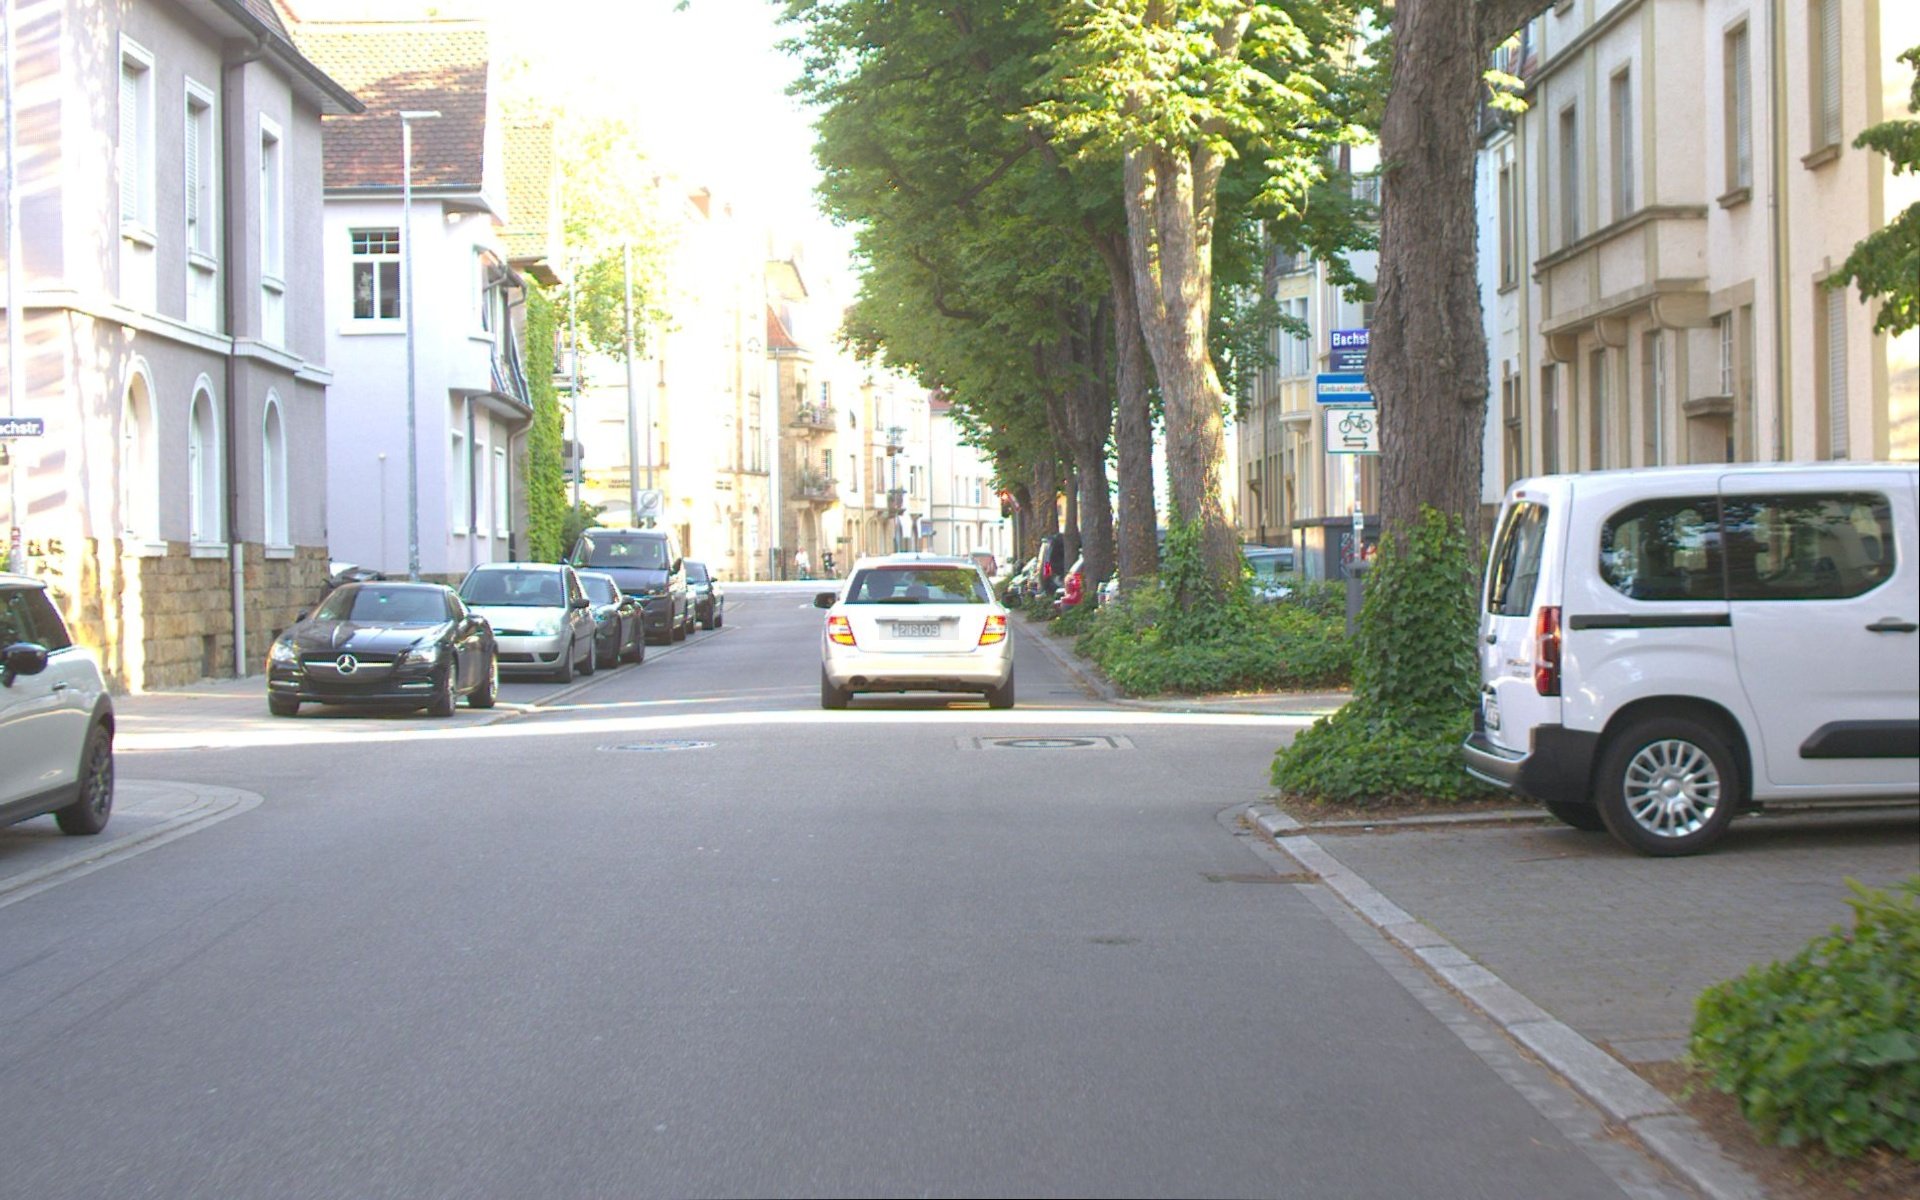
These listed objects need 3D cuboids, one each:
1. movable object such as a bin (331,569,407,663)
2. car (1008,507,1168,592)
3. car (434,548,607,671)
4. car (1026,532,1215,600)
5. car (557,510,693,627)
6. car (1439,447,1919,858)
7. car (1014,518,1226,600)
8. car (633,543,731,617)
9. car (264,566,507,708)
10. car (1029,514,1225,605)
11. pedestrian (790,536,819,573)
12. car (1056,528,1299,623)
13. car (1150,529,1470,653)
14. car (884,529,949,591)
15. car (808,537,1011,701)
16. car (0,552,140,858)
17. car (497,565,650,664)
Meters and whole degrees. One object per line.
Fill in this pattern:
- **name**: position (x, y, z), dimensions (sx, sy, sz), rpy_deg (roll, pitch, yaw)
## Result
- **movable object such as a bin**: position (-8.368, 0.213, 48.734), dimensions (0.721, 1.279, 2.096), rpy_deg (0, 1, 0)
- **car**: position (3.620, -1.443, 97.915), dimensions (4.388, 2.356, 2.000), rpy_deg (0, 1, -2)
- **car**: position (-5.504, 0.084, 43.445), dimensions (1.653, 1.440, 3.960), rpy_deg (1, 1, 0)
- **car**: position (3.749, -0.808, 80.834), dimensions (4.287, 1.535, 1.877), rpy_deg (0, 1, -2)
- **car**: position (-5.799, -0.581, 60.049), dimensions (1.982, 1.941, 4.852), rpy_deg (1, 1, -1)
- **car**: position (4.663, 0.170, 16.685), dimensions (4.314, 1.801, 2.000), rpy_deg (-2, 1, -1)
- **car**: position (3.932, -1.030, 85.077), dimensions (5.053, 1.982, 2.072), rpy_deg (0, 1, -2)
- **car**: position (-5.724, -0.434, 71.146), dimensions (1.695, 1.442, 4.358), rpy_deg (1, 1, 0)
- **car**: position (-5.722, 0.333, 34.679), dimensions (1.653, 1.319, 4.045), rpy_deg (1, 1, 2)
- **car**: position (3.760, -0.929, 77.816), dimensions (4.219, 1.890, 1.906), rpy_deg (-2, 1, -2)
- **pedestrian**: position (-7.271, -2.111, 161.006), dimensions (1.221, 1.716, 1.503), rpy_deg (0, 1, 3)
- **car**: position (3.848, -0.439, 61.224), dimensions (4.190, 1.470, 1.851), rpy_deg (-3, 1, 2)
- **car**: position (4.473, -0.130, 44.257), dimensions (3.792, 1.433, 1.749), rpy_deg (-2, 1, -5)
- **car**: position (-1.115, -1.061, 89.830), dimensions (1.623, 1.564, 3.680), rpy_deg (0, 1, 0)
- **car**: position (-0.442, 0.155, 32.326), dimensions (1.784, 1.432, 3.851), rpy_deg (0, 0, 0)
- **car**: position (-5.465, 0.496, 17.254), dimensions (1.704, 1.455, 3.917), rpy_deg (1, 1, 1)
- **car**: position (-5.370, 0.177, 48.174), dimensions (1.531, 1.314, 4.226), rpy_deg (0, 1, 2)
